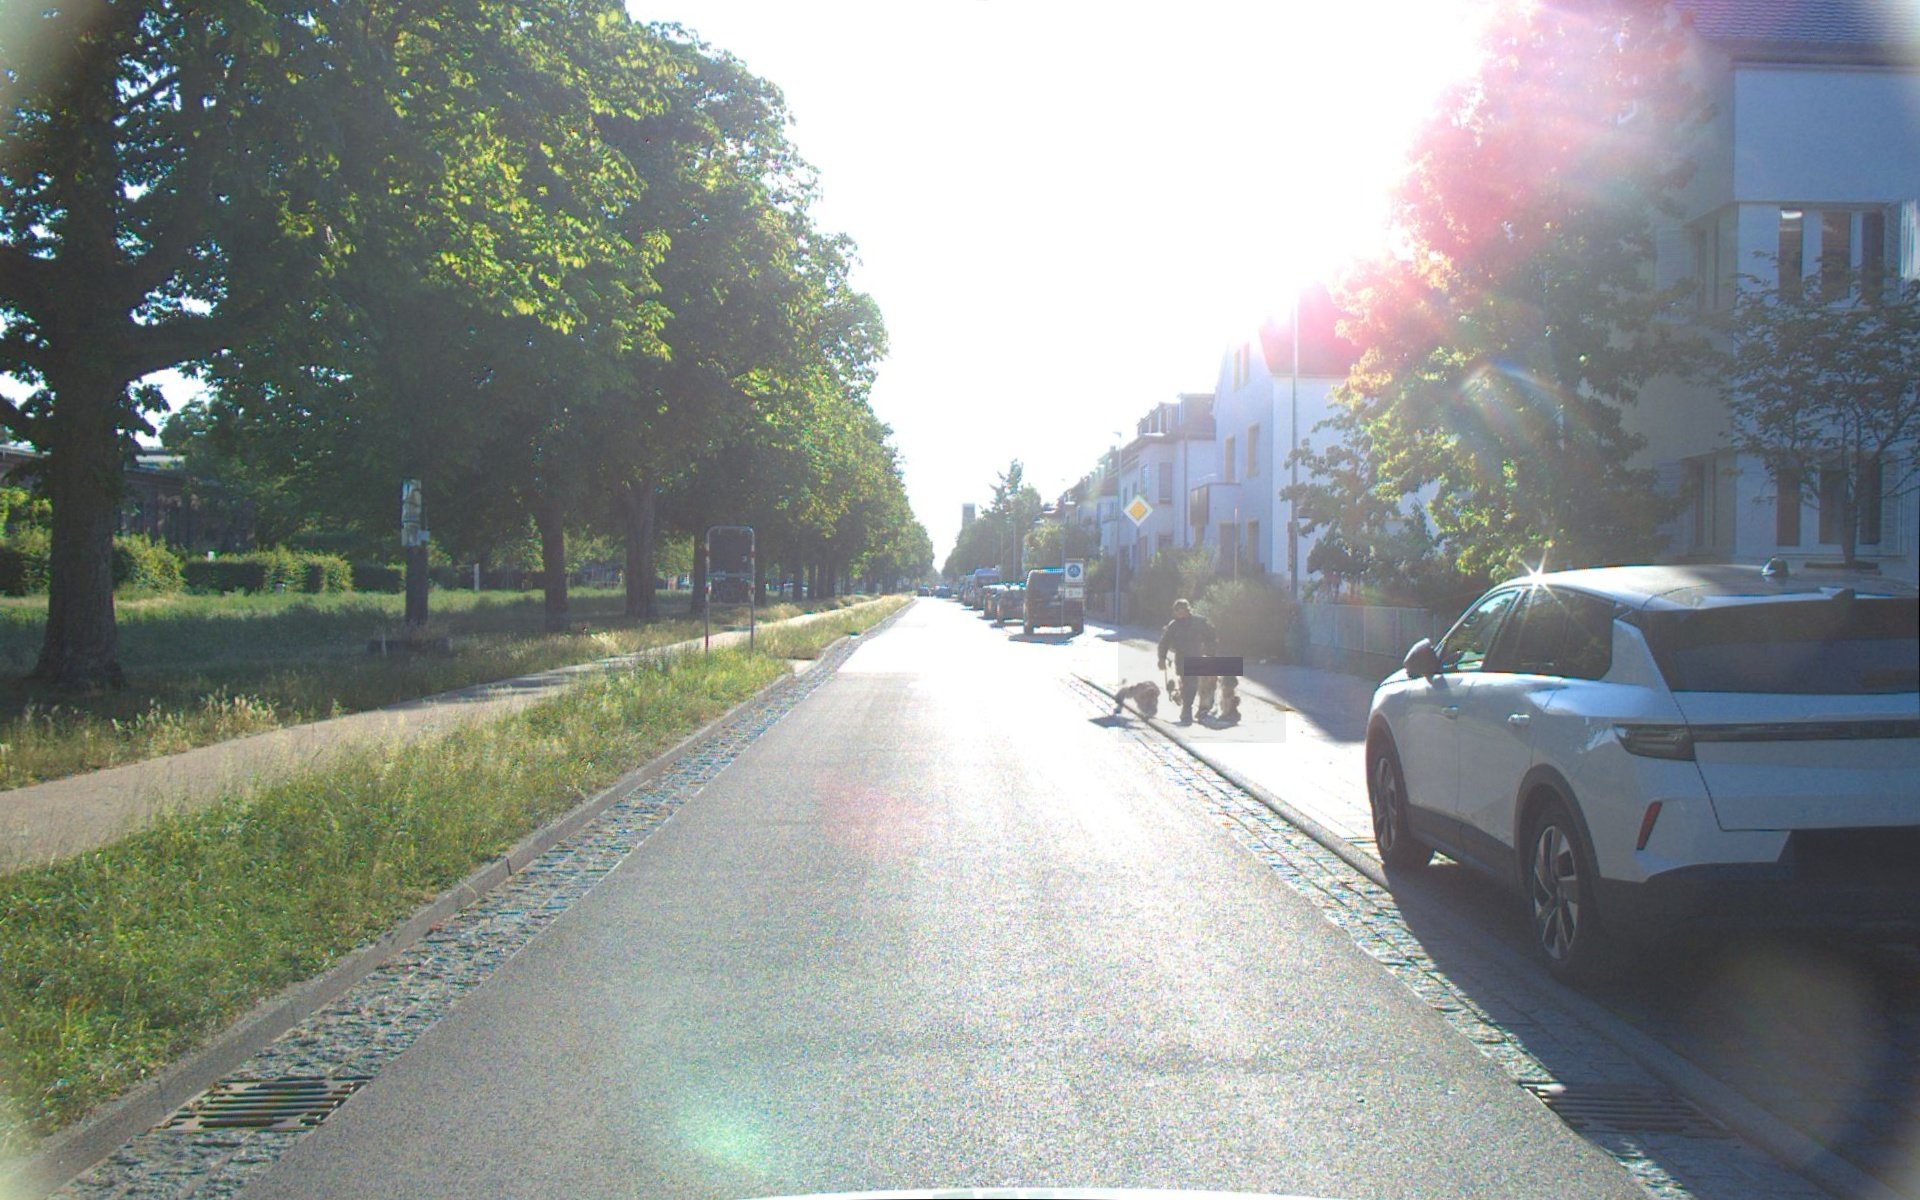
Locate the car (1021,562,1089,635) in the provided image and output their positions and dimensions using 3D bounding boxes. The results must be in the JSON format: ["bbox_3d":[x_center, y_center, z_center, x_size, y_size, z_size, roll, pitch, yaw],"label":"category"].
[{"bbox_3d":[2.991,-0.087,53.065,1.867,2.169,4.814,-2,1,0],"label":"car"}]

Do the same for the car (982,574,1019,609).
[{"bbox_3d":[2.110,-0.453,87.277,1.795,1.714,4.415,2,1,-1],"label":"car"}]

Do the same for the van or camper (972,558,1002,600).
[{"bbox_3d":[1.834,-1.430,114.731,1.904,2.826,5.939,1,0,-1],"label":"van or camper"}]

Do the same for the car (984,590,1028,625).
[{"bbox_3d":[2.231,0.363,81.354,1.684,1.601,4.207,-2,0,-4],"label":"car"}]

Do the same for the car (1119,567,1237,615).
[{"bbox_3d":[8.270,-0.356,62.968,4.134,1.756,1.852,-1,0,-4],"label":"car"}]

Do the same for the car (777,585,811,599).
[{"bbox_3d":[-21.860,-1.040,217.382,4.266,1.795,1.996,1,0,-9],"label":"car"}]

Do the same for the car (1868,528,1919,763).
[{"bbox_3d":[9.654,0.417,13.148,3.906,1.877,1.813,1,2,-7],"label":"car"}]

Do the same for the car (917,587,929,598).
[{"bbox_3d":[-5.578,-1.128,252.436,1.616,1.557,3.851,3,1,0],"label":"car"}]

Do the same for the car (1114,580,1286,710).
[{"bbox_3d":[3.254,0.549,23.169,1.757,1.508,4.124,-3,2,0],"label":"car"}]

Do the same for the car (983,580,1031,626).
[{"bbox_3d":[1.961,0.096,69.627,1.757,1.802,4.472,-2,1,-1],"label":"car"}]

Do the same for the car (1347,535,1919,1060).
[{"bbox_3d":[3.310,0.603,7.886,1.866,1.738,4.576,-2,1,1],"label":"car"}]

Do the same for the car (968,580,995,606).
[{"bbox_3d":[1.370,-0.492,108.167,1.630,1.620,4.085,1,0,-1],"label":"car"}]

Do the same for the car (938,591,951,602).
[{"bbox_3d":[-2.207,-0.502,238.969,1.825,1.625,3.869,1,0,-2],"label":"car"}]

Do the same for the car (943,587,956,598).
[{"bbox_3d":[-1.455,-1.065,232.531,1.616,1.557,3.851,3,1,0],"label":"car"}]

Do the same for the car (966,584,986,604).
[{"bbox_3d":[1.307,-0.522,138.753,1.616,1.557,3.851,-1,1,0],"label":"car"}]

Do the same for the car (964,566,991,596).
[{"bbox_3d":[1.518,-1.688,145.030,2.084,2.577,5.186,-1,1,-3],"label":"car"}]
